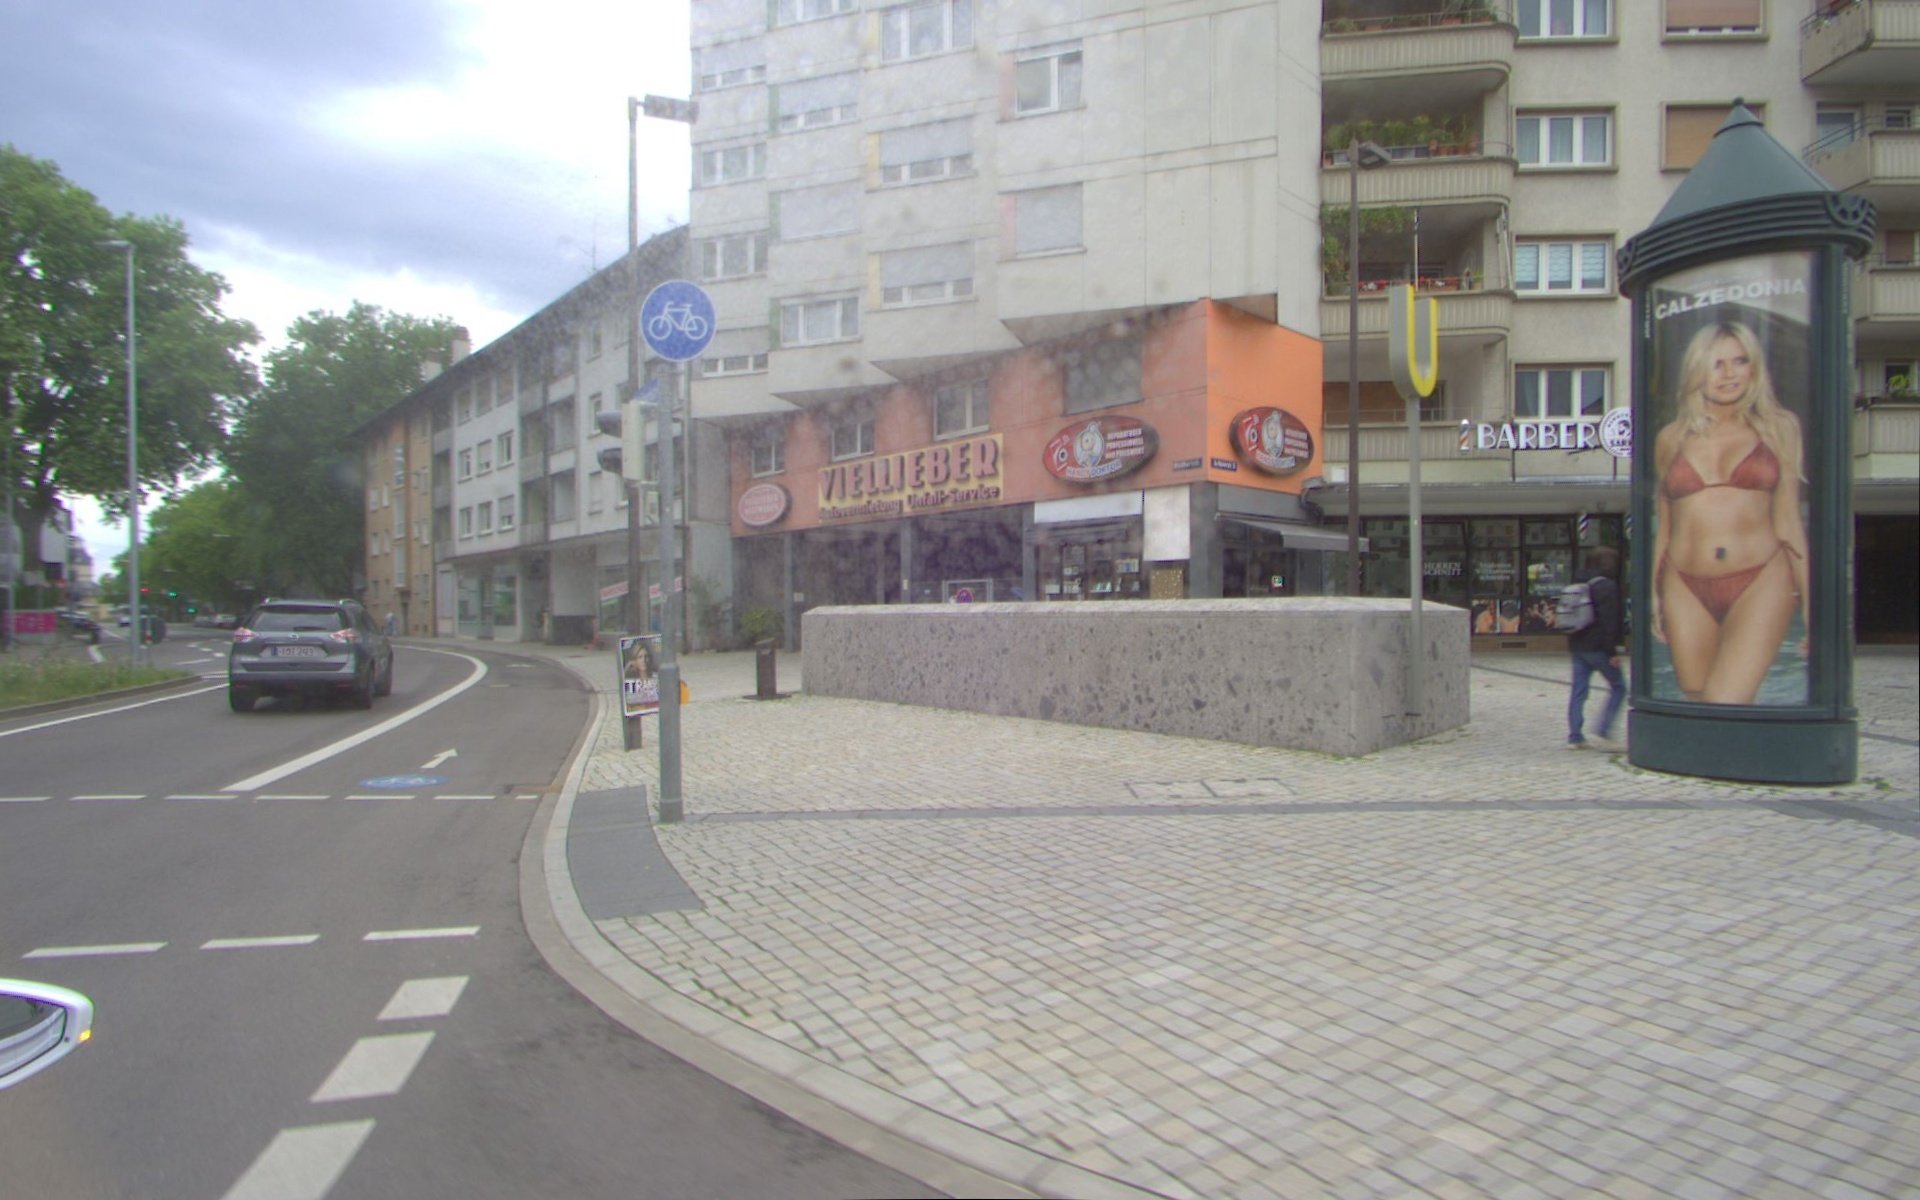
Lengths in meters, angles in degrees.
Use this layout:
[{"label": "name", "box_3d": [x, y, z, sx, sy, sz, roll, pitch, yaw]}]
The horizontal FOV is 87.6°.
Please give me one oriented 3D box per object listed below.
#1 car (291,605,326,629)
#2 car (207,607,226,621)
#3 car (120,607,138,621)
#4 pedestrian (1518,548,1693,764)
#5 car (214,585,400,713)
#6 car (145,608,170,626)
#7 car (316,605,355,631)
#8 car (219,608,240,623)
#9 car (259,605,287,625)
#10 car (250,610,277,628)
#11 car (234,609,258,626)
[{"label": "car", "box_3d": [-50.878, 1.297, 78.173, 1.849, 1.798, 3.949, 2, -1, -40]}, {"label": "car", "box_3d": [-99.262, 1.922, 133.688, 1.849, 1.798, 3.949, 2, -1, -40]}, {"label": "car", "box_3d": [-111.684, 1.918, 134.573, 1.849, 1.798, 3.949, 2, -1, -40]}, {"label": "pedestrian", "box_3d": [5.913, 0.487, 9.250, 1.131, 1.888, 0.804, 0, 2, 13]}, {"label": "car", "box_3d": [-10.606, 0.732, 16.613, 1.839, 1.798, 4.551, 1, -1, -24]}, {"label": "car", "box_3d": [-82.496, 1.706, 102.912, 1.849, 1.798, 3.949, 2, -1, -40]}, {"label": "car", "box_3d": [-45.161, 1.260, 72.395, 1.849, 1.798, 3.949, 2, -1, -40]}, {"label": "car", "box_3d": [-89.415, 1.921, 122.555, 1.849, 1.798, 3.949, 2, -1, -40]}, {"label": "car", "box_3d": [-67.028, 1.467, 97.645, 1.849, 1.798, 3.949, 2, -1, -40]}, {"label": "car", "box_3d": [-70.561, 1.918, 101.444, 1.849, 1.798, 3.949, 2, -1, -40]}, {"label": "car", "box_3d": [-78.901, 1.883, 110.590, 1.849, 1.798, 3.949, 2, -1, -40]}]
